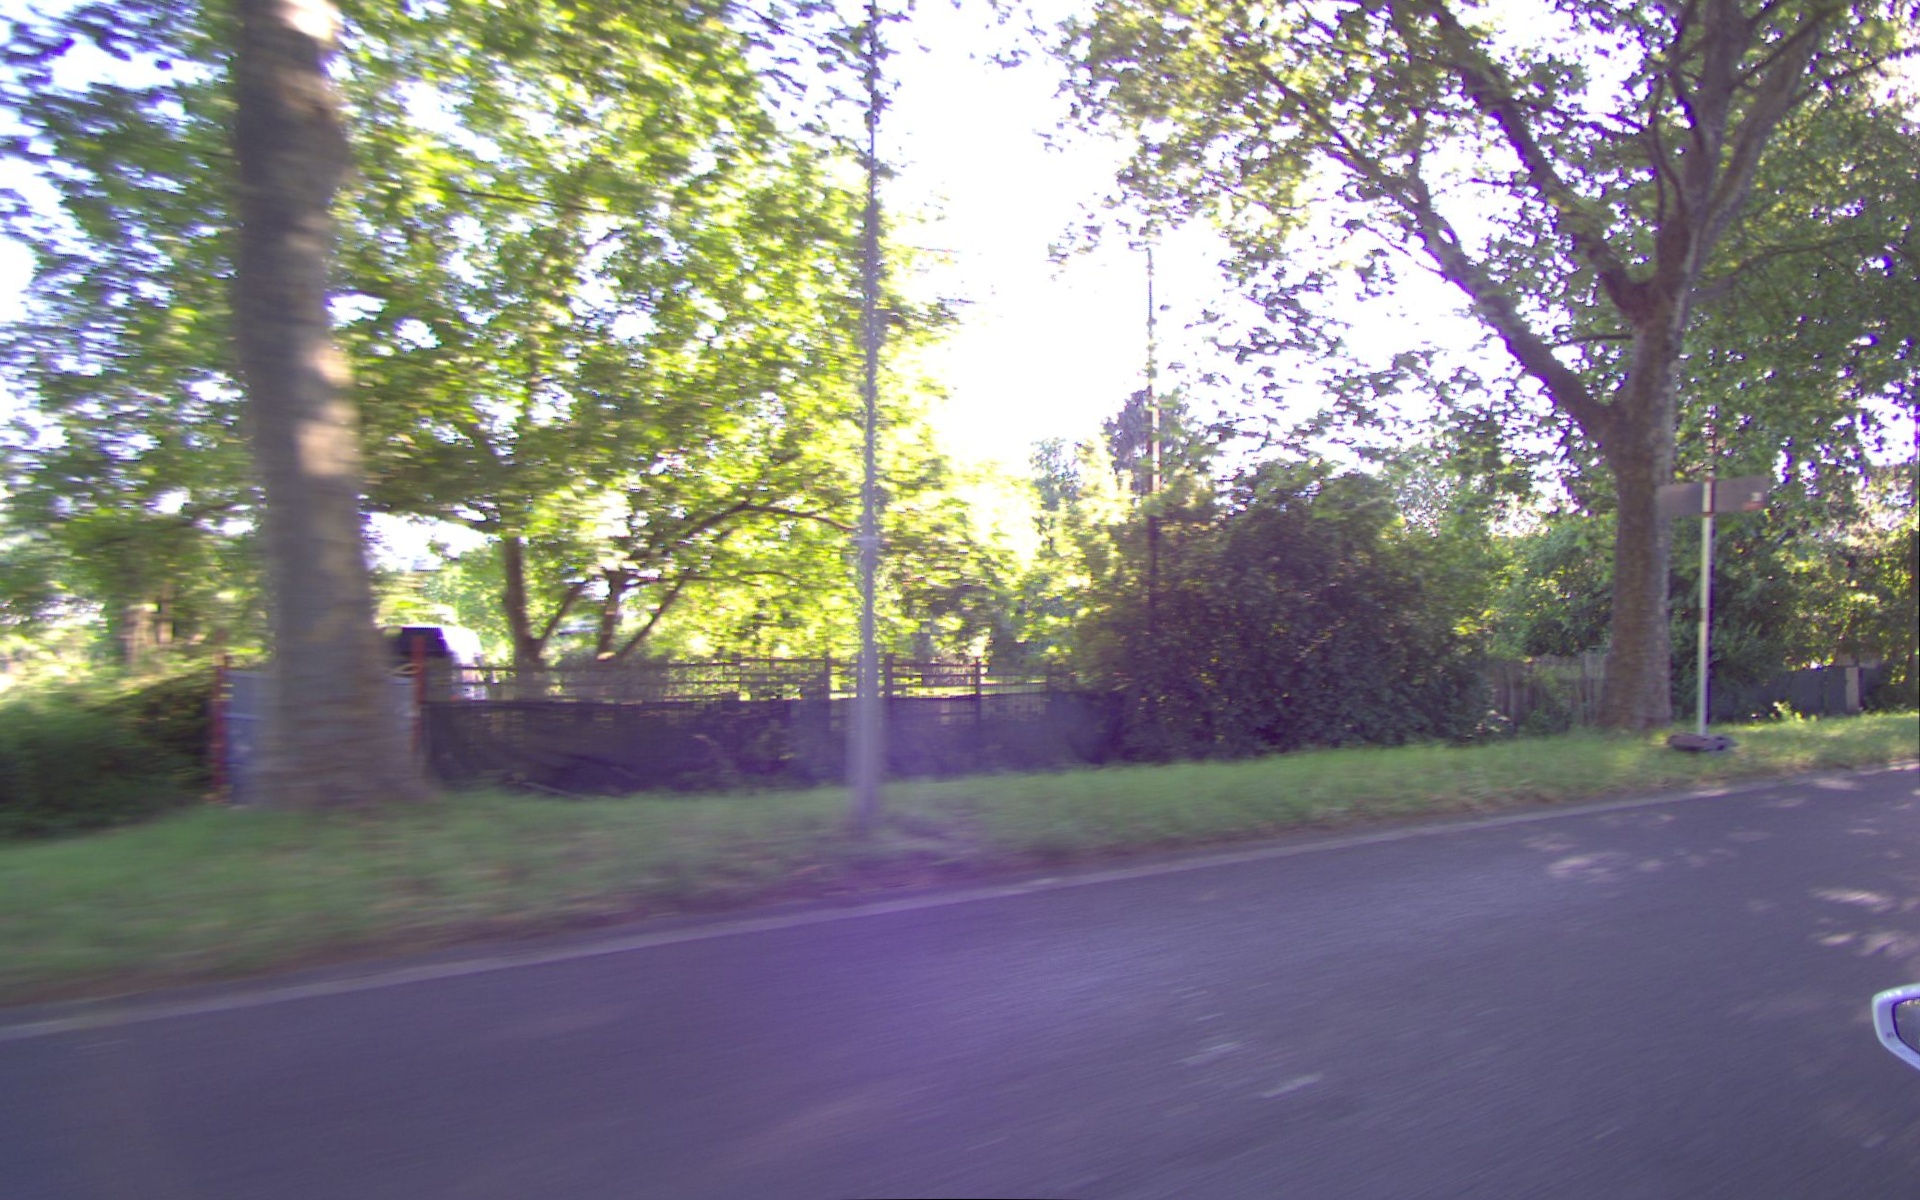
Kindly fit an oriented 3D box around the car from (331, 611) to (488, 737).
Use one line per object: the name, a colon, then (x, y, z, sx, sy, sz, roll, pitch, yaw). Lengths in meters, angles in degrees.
car: (-10.312, 1.307, 19.138, 1.970, 2.040, 3.981, 2, 0, -20)
